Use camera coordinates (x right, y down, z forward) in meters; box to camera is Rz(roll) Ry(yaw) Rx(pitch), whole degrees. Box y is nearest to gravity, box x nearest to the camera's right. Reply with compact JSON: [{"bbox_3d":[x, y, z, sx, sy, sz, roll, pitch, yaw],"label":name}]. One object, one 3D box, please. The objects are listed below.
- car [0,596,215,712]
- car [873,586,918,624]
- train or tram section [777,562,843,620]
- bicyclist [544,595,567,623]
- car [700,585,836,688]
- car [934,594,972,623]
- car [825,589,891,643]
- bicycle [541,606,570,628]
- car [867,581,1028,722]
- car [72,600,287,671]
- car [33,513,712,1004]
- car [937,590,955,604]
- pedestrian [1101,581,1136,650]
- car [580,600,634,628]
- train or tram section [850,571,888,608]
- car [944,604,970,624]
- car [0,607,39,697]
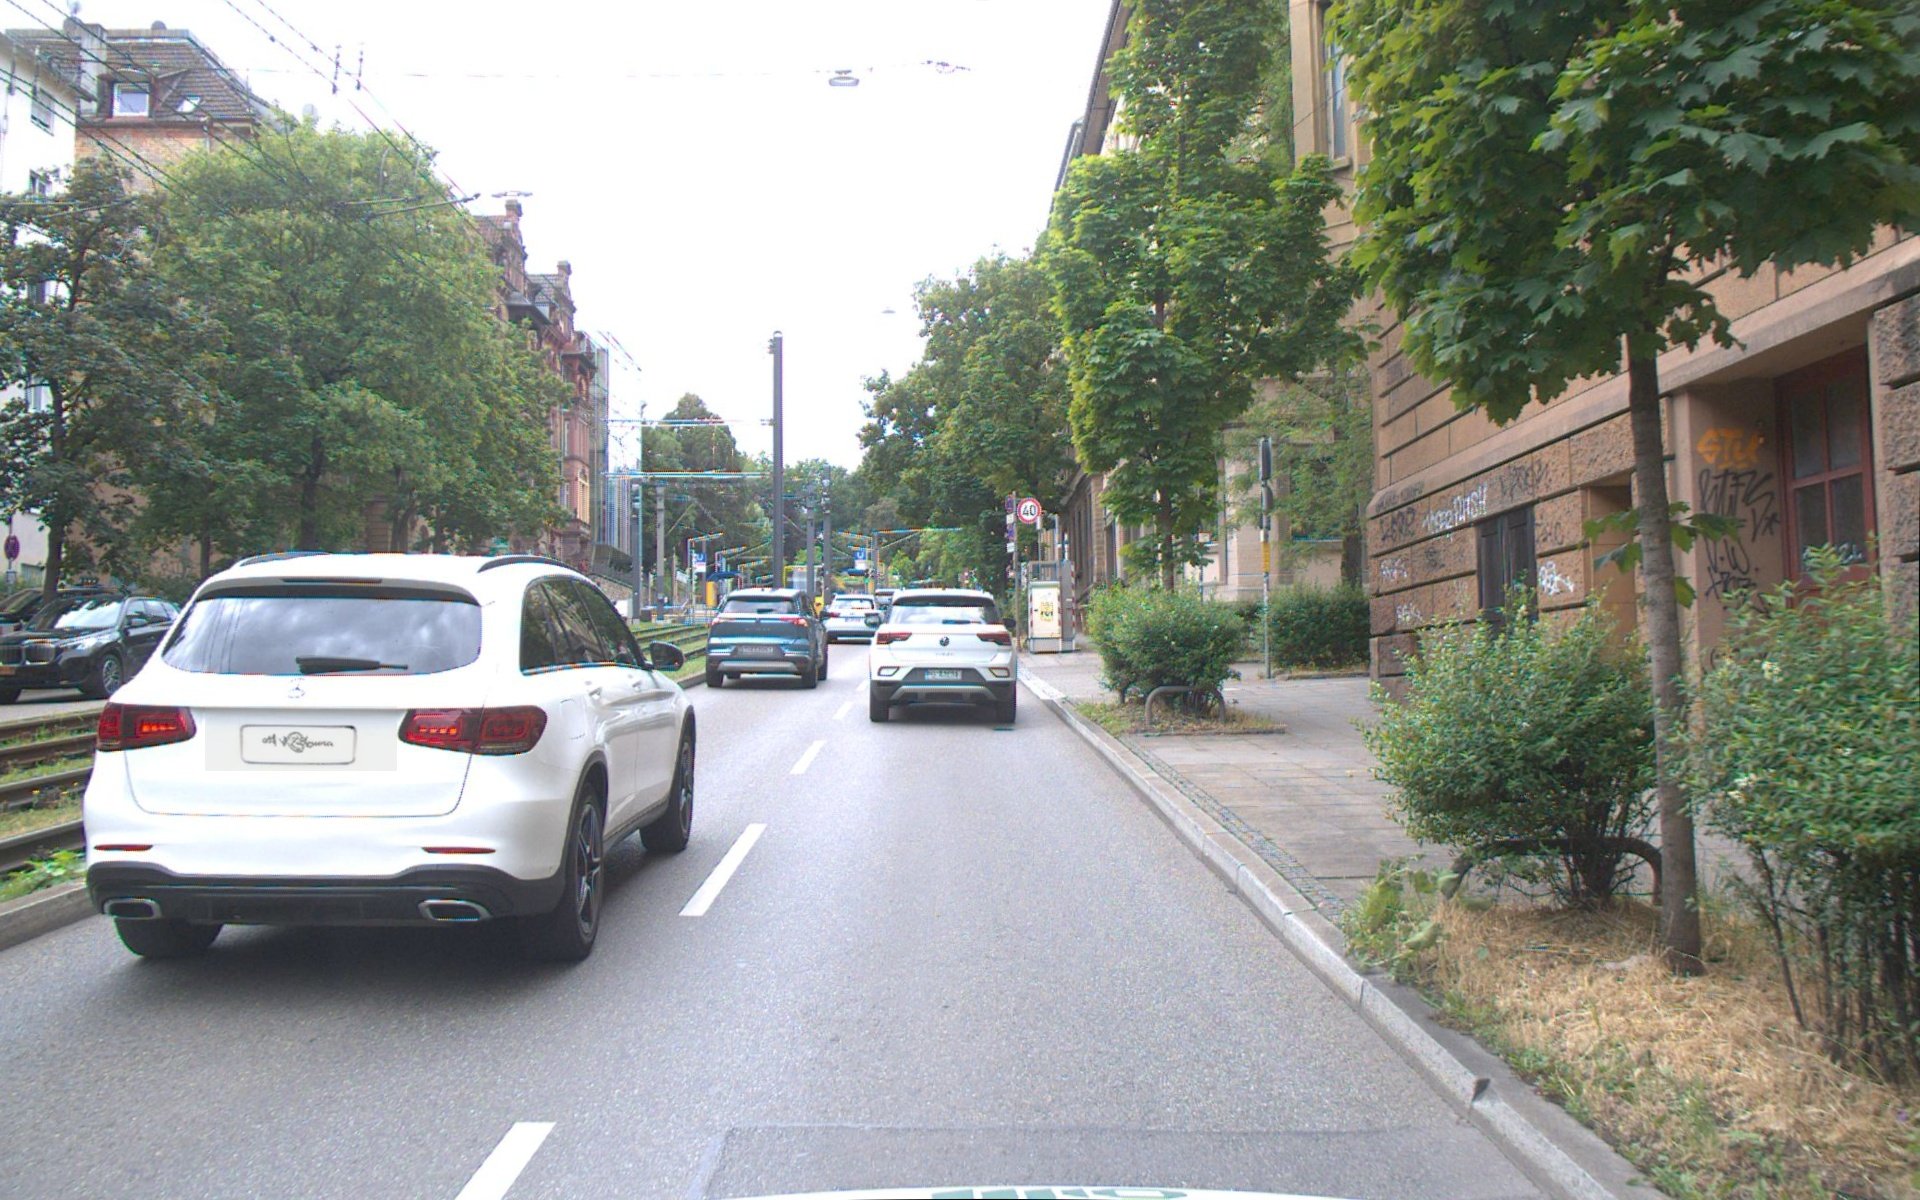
[{"bbox_3d":[-14.078,0.812,26.894,1.878,1.679,4.606,-2,0,-2],"label":"car"},{"bbox_3d":[-2.777,0.211,71.880,1.798,1.573,4.193,1,0,-1],"label":"car"},{"bbox_3d":[-9.432,-0.529,105.682,2.934,3.407,13.438,-1,0,0],"label":"train or tram section"},{"bbox_3d":[-21.478,0.473,87.828,0.919,1.450,1.188,-1,0,-1],"label":"bicyclist"},{"bbox_3d":[-3.120,0.569,27.576,1.798,1.573,4.193,1,0,-1],"label":"car"},{"bbox_3d":[-0.393,0.470,92.454,2.026,1.573,4.193,1,0,-1],"label":"car"},{"bbox_3d":[-3.103,0.473,51.006,1.798,1.573,4.193,1,0,-1],"label":"car"},{"bbox_3d":[-21.470,0.886,87.784,0.919,1.119,2.702,-1,0,-1],"label":"bicycle"},{"bbox_3d":[-0.203,0.590,20.770,1.798,1.573,4.192,1,0,-2],"label":"car"},{"bbox_3d":[-19.246,0.854,40.837,4.554,1.646,1.912,1,0,-35],"label":"car"},{"bbox_3d":[-2.385,0.561,8.097,1.799,1.696,4.668,1,0,-2],"label":"car"},{"bbox_3d":[-1.611,-0.337,187.762,2.026,1.573,4.193,1,0,-1],"label":"car"},{"bbox_3d":[3.984,0.383,41.490,0.695,1.691,1.128,-1,0,13],"label":"pedestrian"},{"bbox_3d":[-18.505,0.719,86.839,1.953,1.427,4.000,-1,0,0],"label":"car"},{"bbox_3d":[-8.931,-0.971,163.552,2.934,3.407,13.438,-1,0,0],"label":"train or tram section"},{"bbox_3d":[-0.278,1.142,133.100,2.026,1.573,4.193,1,0,-1],"label":"car"},{"bbox_3d":[-18.788,0.896,28.931,4.552,1.575,1.913,1,0,-34],"label":"car"}]
